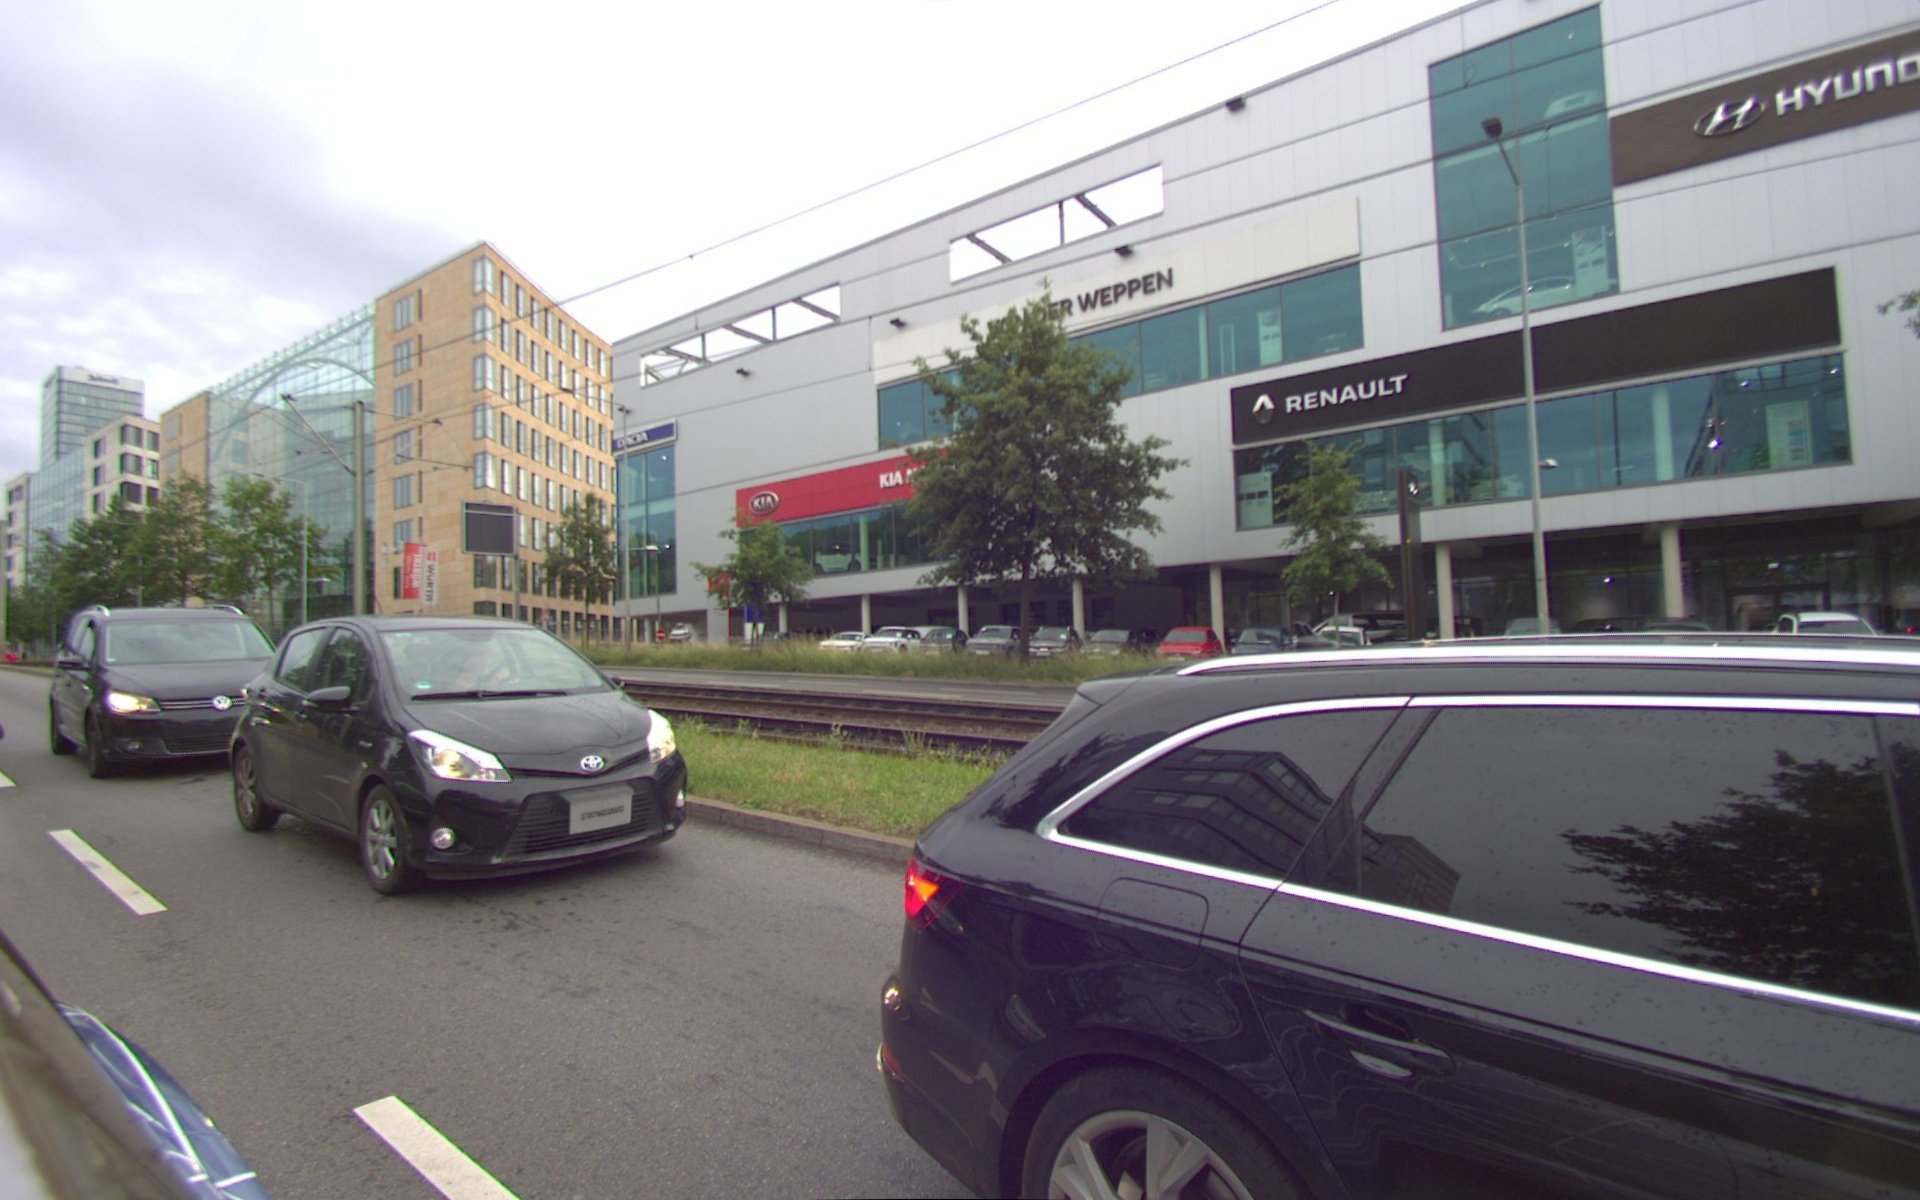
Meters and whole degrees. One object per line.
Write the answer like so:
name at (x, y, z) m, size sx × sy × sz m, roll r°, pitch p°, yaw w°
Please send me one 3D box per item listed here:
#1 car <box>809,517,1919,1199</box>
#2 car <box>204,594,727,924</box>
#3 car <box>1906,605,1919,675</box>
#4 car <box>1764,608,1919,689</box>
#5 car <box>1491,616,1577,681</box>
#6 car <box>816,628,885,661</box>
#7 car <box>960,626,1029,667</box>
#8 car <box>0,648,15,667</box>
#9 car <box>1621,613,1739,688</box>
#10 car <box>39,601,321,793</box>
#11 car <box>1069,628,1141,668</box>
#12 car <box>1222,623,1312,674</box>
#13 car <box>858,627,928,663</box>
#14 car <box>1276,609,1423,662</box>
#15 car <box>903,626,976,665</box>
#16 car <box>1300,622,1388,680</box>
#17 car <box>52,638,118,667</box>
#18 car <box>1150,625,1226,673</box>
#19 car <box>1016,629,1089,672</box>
car at (1.934, 0.645, 1.461) m, size 4.511 × 1.478 × 1.762 m, roll -2°, pitch -2°, yaw 41°
car at (-3.391, 0.788, 6.638) m, size 3.823 × 1.544 × 1.683 m, roll -1°, pitch -1°, yaw 40°
car at (22.840, 0.979, 22.260) m, size 1.992 × 1.627 × 4.331 m, roll -1°, pitch 1°, yaw 30°
car at (20.595, 1.058, 23.809) m, size 1.992 × 1.562 × 4.331 m, roll -1°, pitch 1°, yaw 30°
car at (15.857, 1.281, 27.971) m, size 1.925 × 1.470 × 3.981 m, roll -1°, pitch 1°, yaw 30°
car at (-4.786, 1.951, 44.637) m, size 1.685 × 1.196 × 3.643 m, roll -2°, pitch 1°, yaw 18°
car at (1.399, 1.804, 39.703) m, size 1.686 × 1.362 × 3.503 m, roll -2°, pitch 1°, yaw 20°
car at (-83.993, 5.001, 88.325) m, size 4.096 × 1.524 × 1.569 m, roll -2°, pitch -4°, yaw 38°
car at (18.057, 1.205, 25.585) m, size 1.992 × 1.562 × 4.331 m, roll -1°, pitch 1°, yaw 30°
car at (-8.476, 0.876, 10.844) m, size 4.318 × 1.619 × 1.762 m, roll -2°, pitch 0°, yaw 44°
car at (5.245, 1.696, 36.322) m, size 1.688 × 1.190 × 3.498 m, roll -2°, pitch 1°, yaw 24°
car at (10.076, 1.550, 33.042) m, size 1.914 × 1.362 × 4.005 m, roll -1°, pitch 1°, yaw 30°
car at (-2.796, 1.881, 42.961) m, size 1.685 × 1.304 × 3.643 m, roll -2°, pitch 1°, yaw 18°
car at (13.956, 1.263, 36.497) m, size 4.488 × 1.796 × 1.997 m, roll -1°, pitch -1°, yaw 5°
car at (-0.788, 1.825, 41.030) m, size 1.688 × 1.362 × 3.499 m, roll -2°, pitch 1°, yaw 23°
car at (11.950, 1.525, 31.345) m, size 1.914 × 1.470 × 4.005 m, roll -1°, pitch 1°, yaw 30°
car at (-53.092, 3.165, 61.361) m, size 4.832 × 1.733 × 1.975 m, roll -1°, pitch -4°, yaw 37°
car at (7.813, 1.626, 34.445) m, size 1.789 × 1.362 × 3.903 m, roll -2°, pitch 1°, yaw 24°
car at (3.498, 1.848, 37.783) m, size 1.688 × 1.362 × 3.498 m, roll -2°, pitch 1°, yaw 24°
